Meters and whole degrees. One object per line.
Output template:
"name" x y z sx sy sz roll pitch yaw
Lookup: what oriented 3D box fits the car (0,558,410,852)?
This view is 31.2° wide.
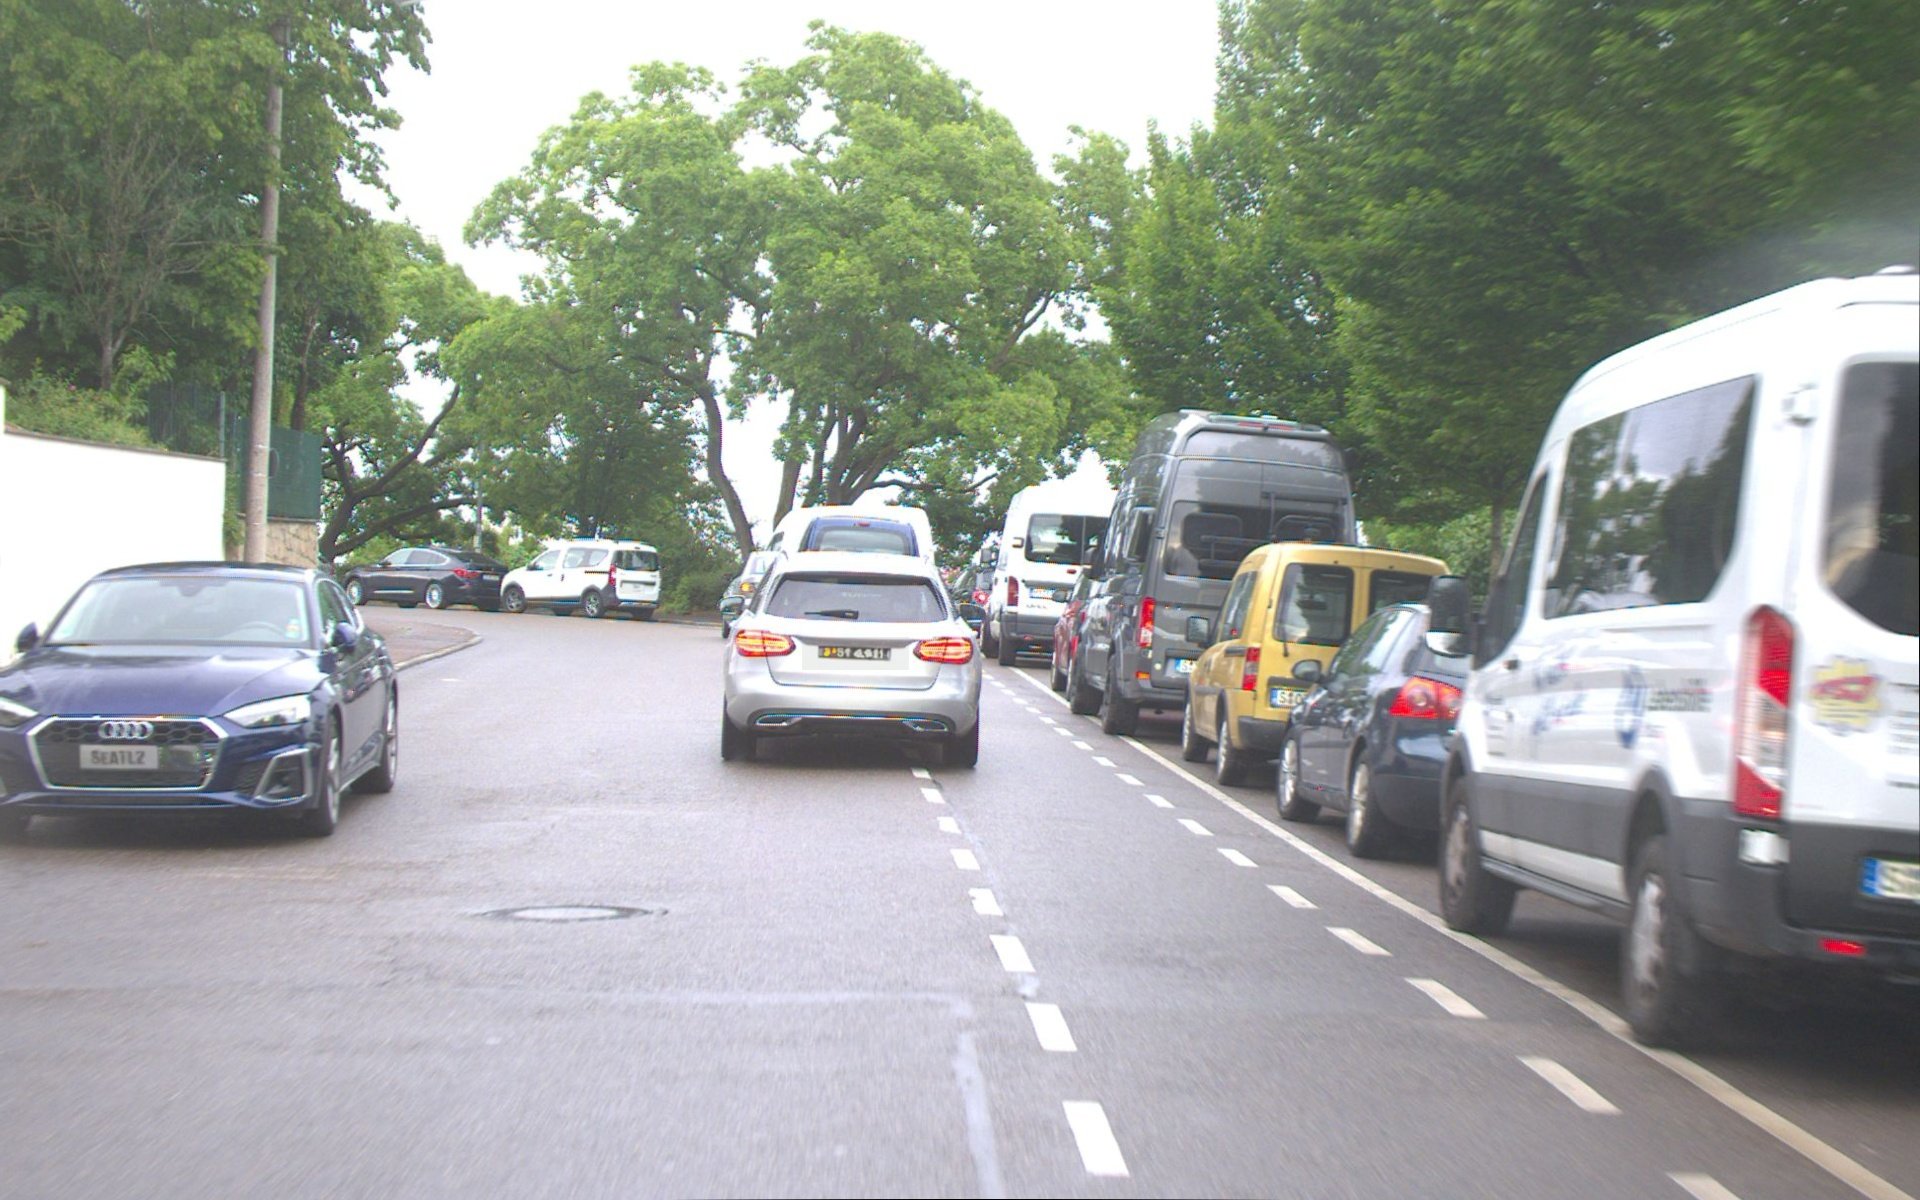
"car" -4.147 0.485 18.909 1.748 1.353 4.426 0 2 -3

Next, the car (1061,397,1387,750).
"car" 2.329 -0.296 32.033 2.124 2.877 5.770 3 1 -3

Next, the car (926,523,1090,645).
"car" 0.811 -0.316 61.737 2.063 1.953 4.498 3 1 -9

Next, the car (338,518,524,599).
"car" -13.024 -1.040 84.505 4.667 1.692 1.965 5 2 43

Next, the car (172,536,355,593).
"car" -17.842 -0.916 88.026 4.490 1.397 1.967 1 2 33

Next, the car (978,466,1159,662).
"car" 1.453 -0.533 48.019 2.064 2.486 4.760 3 1 -2

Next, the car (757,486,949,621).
"car" -2.254 -0.991 71.087 2.125 2.518 4.498 3 1 -27

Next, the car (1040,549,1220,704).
"car" 1.850 0.262 38.402 1.583 1.522 3.586 3 1 -3

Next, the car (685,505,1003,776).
"car" -0.861 0.220 24.820 2.025 1.702 4.216 3 1 -3

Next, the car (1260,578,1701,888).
"car" 2.943 0.693 20.326 1.671 1.453 4.224 5 1 -3

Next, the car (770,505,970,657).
"car" -1.174 -0.236 42.639 1.993 1.702 4.001 3 0 -8

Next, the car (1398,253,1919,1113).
"car" 3.298 0.231 13.100 2.173 2.484 6.034 4 1 -2

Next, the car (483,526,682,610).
"car" -8.891 -0.758 80.797 4.492 1.692 1.966 4 2 39

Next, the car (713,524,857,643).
"car" -2.693 -0.247 53.810 1.993 1.702 4.000 3 0 0

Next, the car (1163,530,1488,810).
"car" 2.652 0.441 25.896 1.727 1.779 4.276 5 1 -2
